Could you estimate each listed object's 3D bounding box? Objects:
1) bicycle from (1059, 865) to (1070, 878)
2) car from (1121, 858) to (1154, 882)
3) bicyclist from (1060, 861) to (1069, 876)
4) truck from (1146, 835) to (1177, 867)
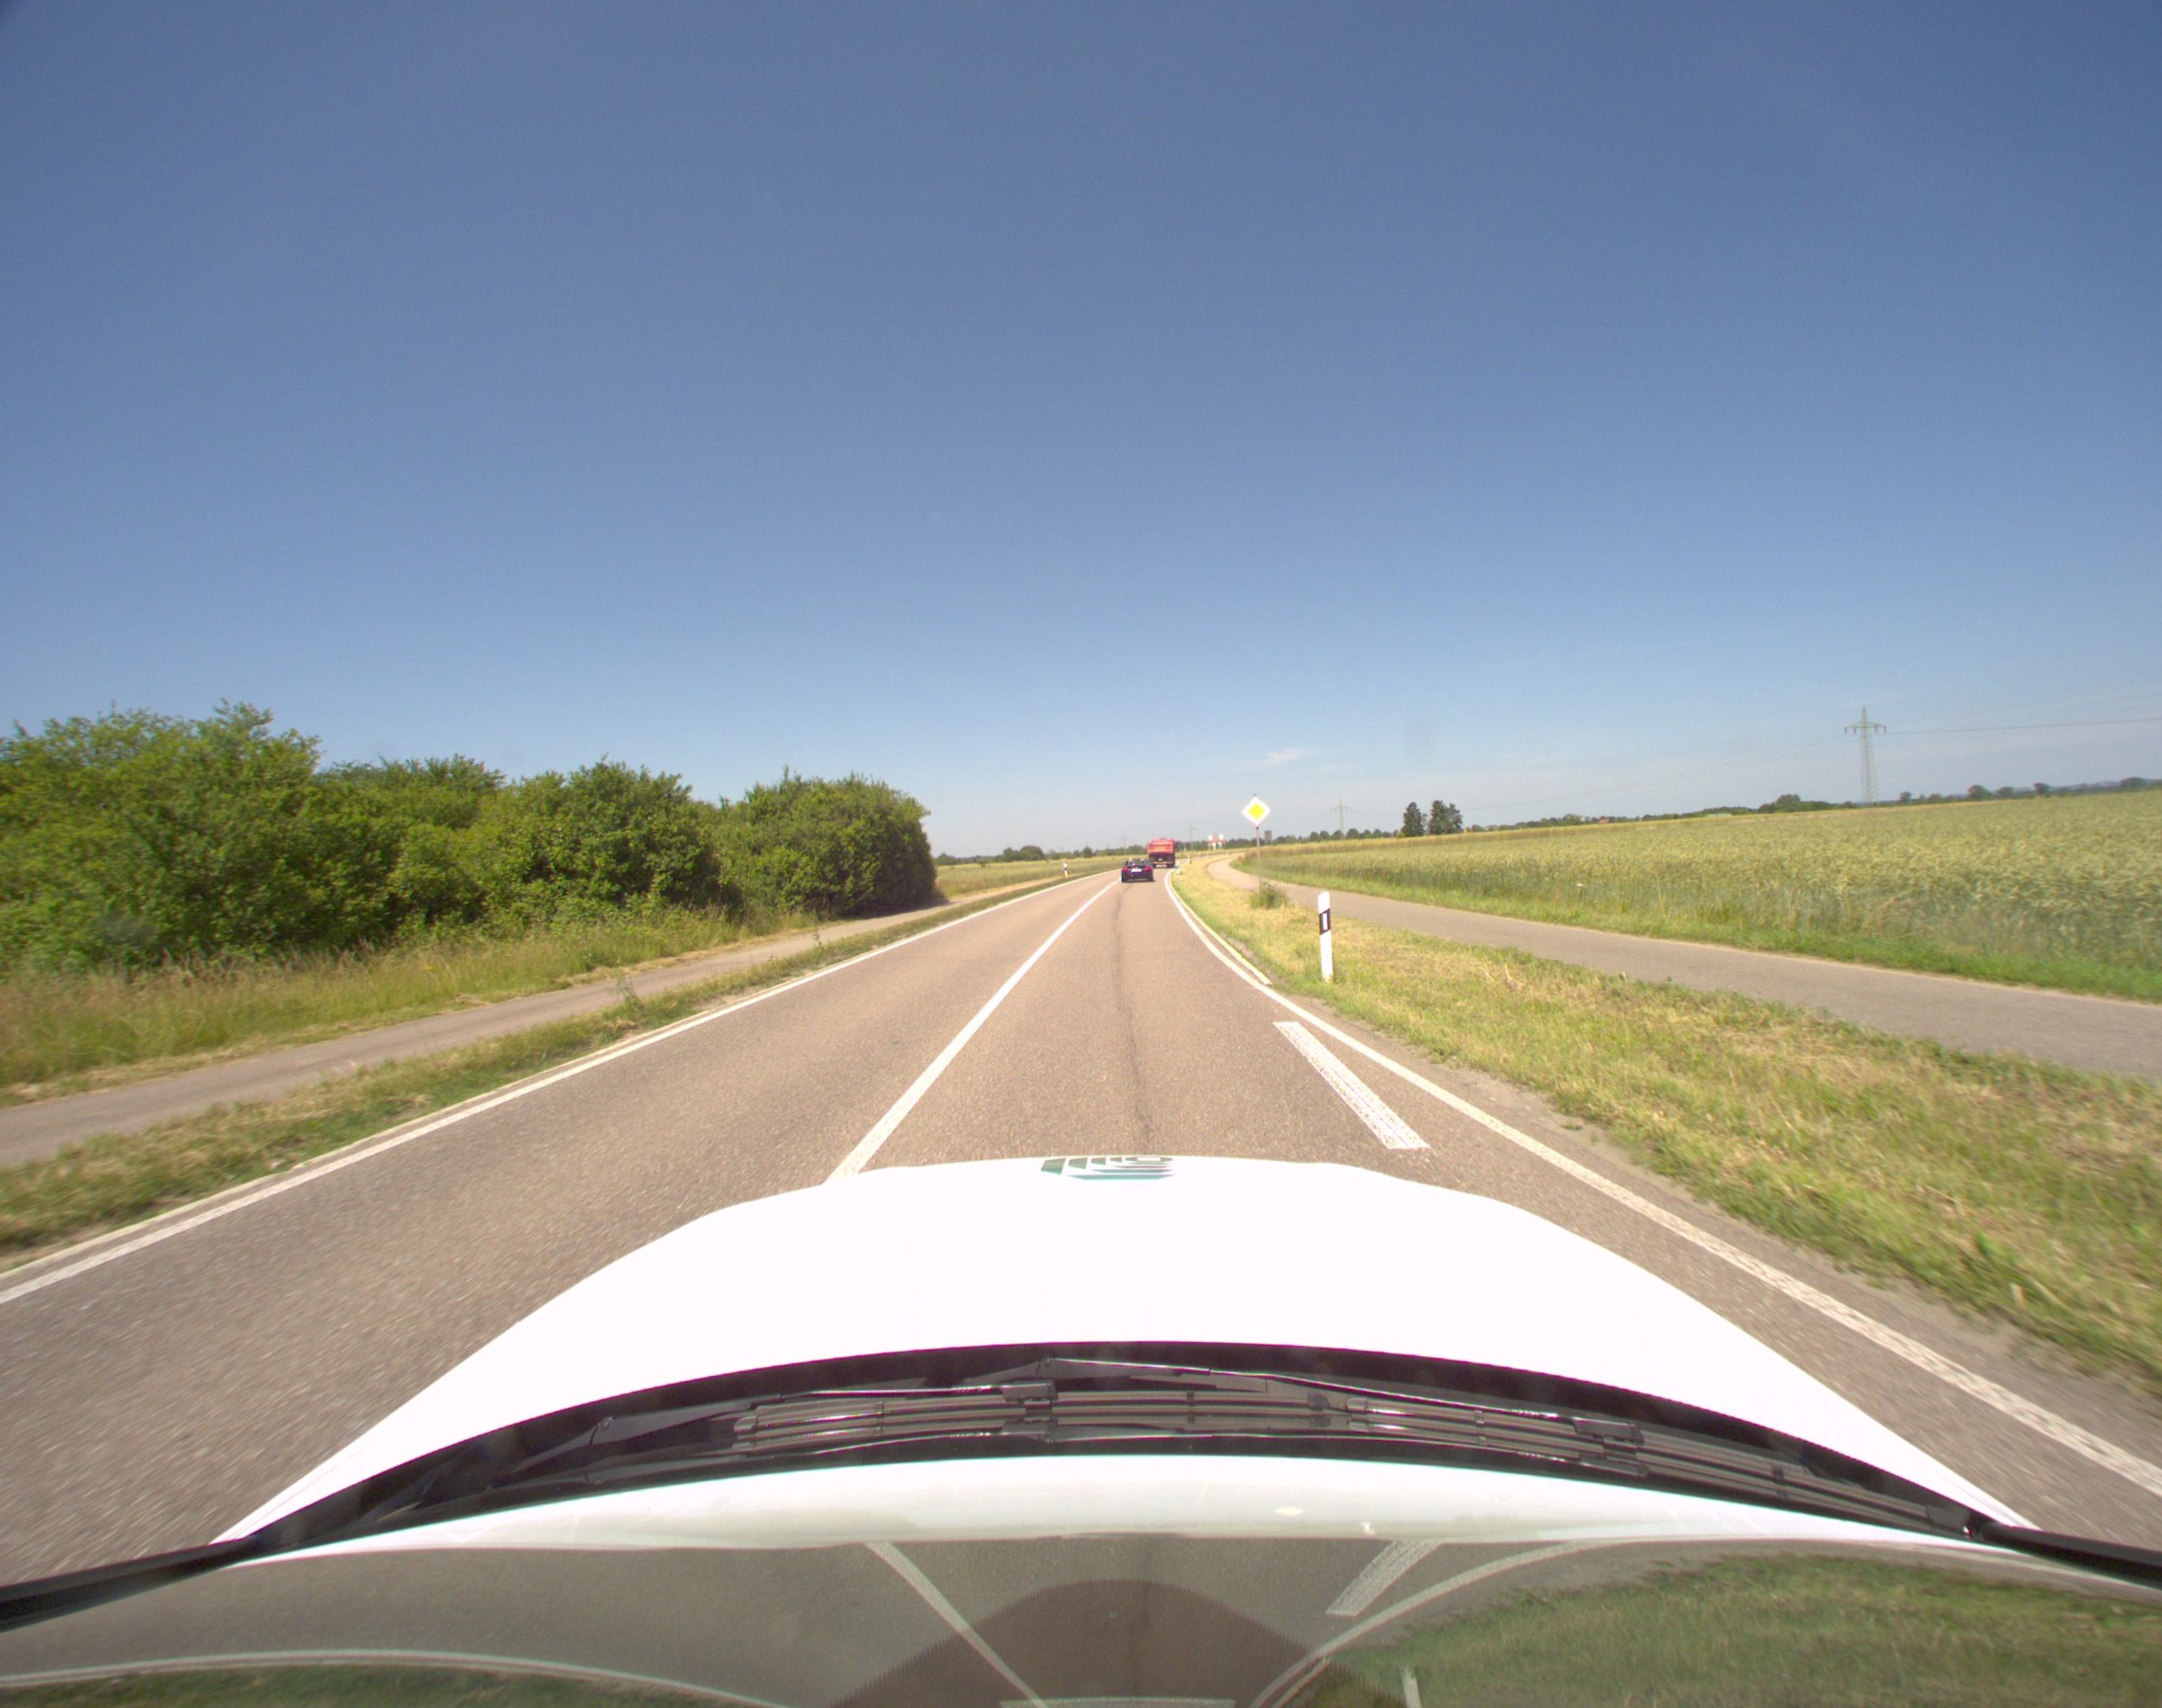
[{"bbox_3d":[-1.613,1.740,80.220,0.690,1.176,1.967,-4,0,7],"label":"bicycle"},{"bbox_3d":[3.143,0.873,46.084,1.737,1.280,4.003,-2,0,3],"label":"car"},{"bbox_3d":[-1.635,1.381,80.173,0.660,1.438,0.824,-2,-1,7],"label":"bicyclist"},{"bbox_3d":[8.391,-0.293,84.375,2.922,3.089,7.210,-2,-1,7],"label":"truck"}]
